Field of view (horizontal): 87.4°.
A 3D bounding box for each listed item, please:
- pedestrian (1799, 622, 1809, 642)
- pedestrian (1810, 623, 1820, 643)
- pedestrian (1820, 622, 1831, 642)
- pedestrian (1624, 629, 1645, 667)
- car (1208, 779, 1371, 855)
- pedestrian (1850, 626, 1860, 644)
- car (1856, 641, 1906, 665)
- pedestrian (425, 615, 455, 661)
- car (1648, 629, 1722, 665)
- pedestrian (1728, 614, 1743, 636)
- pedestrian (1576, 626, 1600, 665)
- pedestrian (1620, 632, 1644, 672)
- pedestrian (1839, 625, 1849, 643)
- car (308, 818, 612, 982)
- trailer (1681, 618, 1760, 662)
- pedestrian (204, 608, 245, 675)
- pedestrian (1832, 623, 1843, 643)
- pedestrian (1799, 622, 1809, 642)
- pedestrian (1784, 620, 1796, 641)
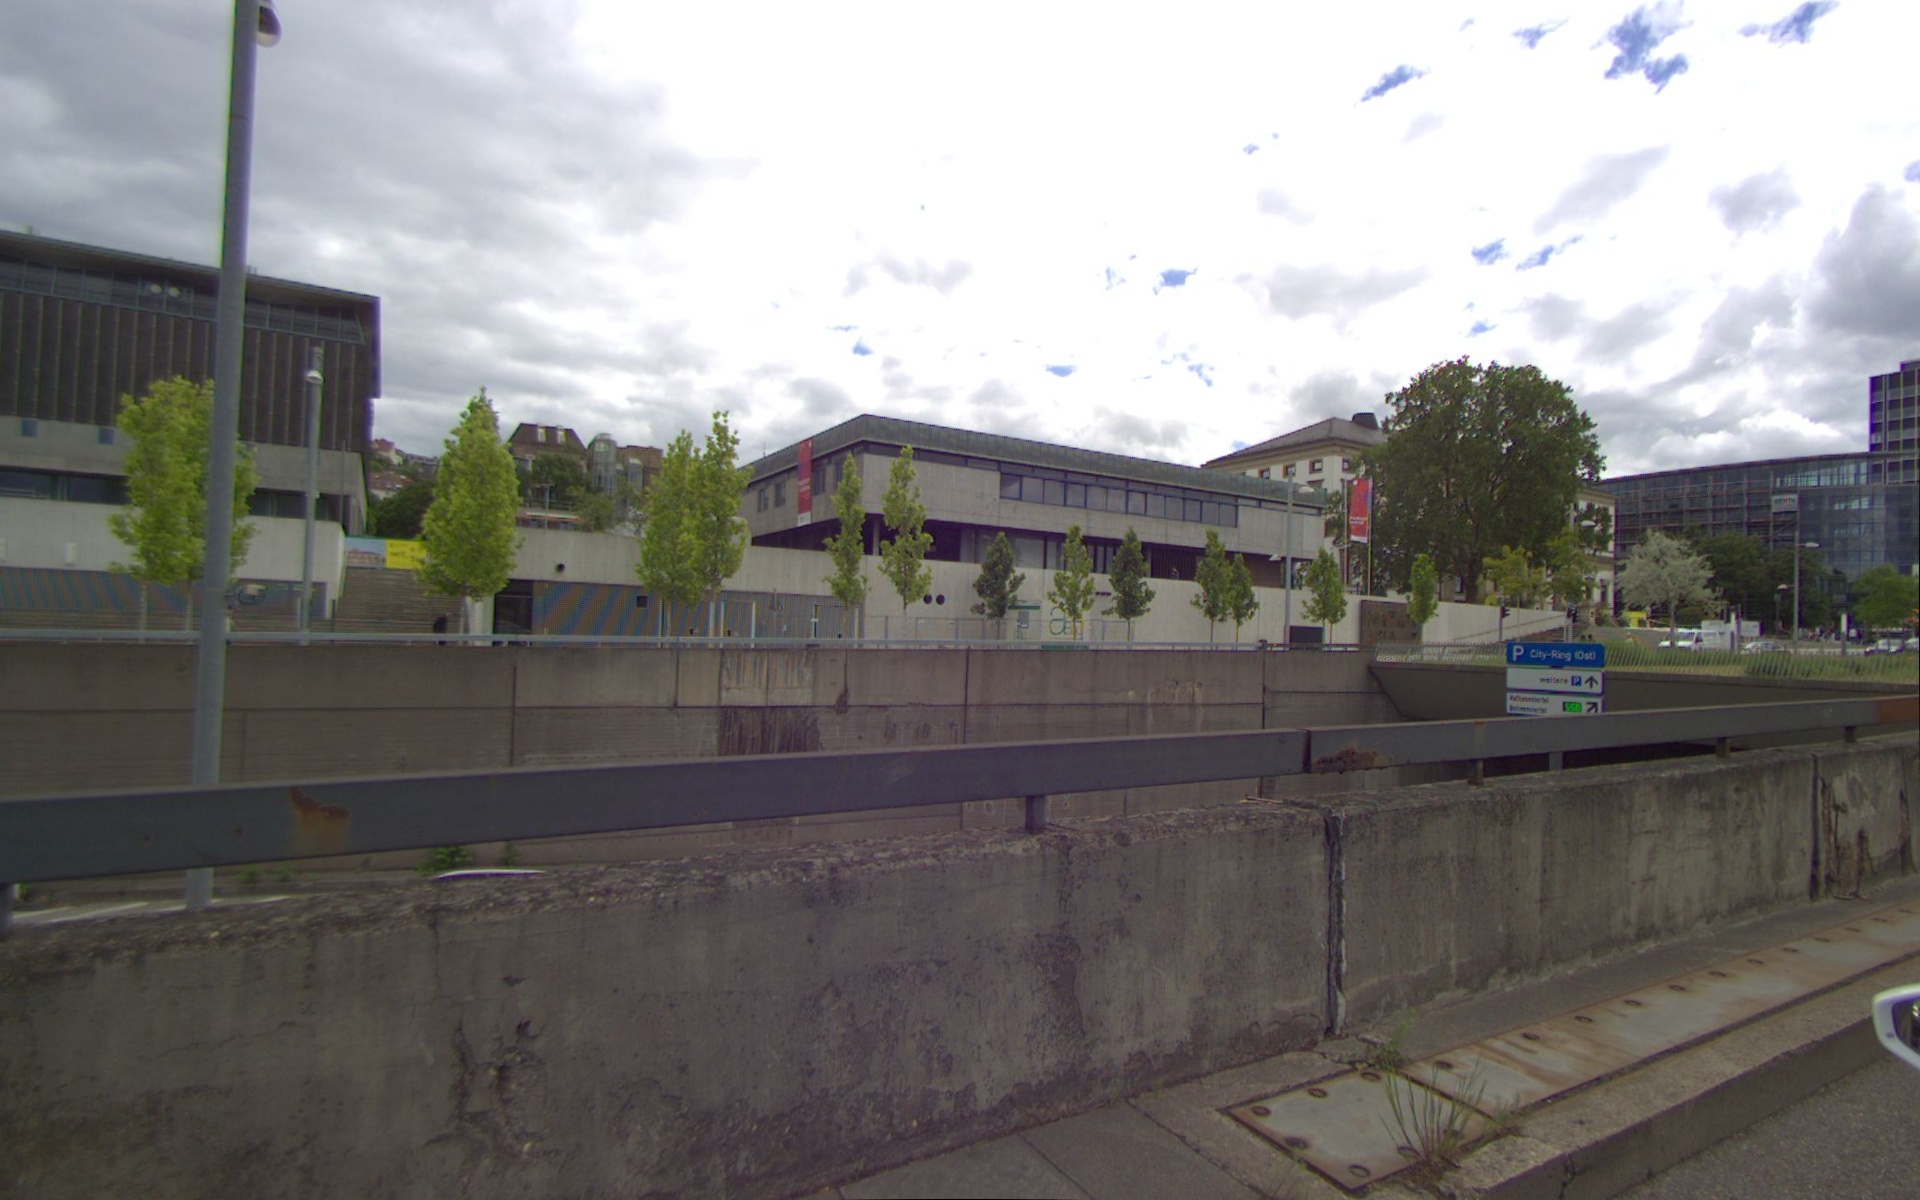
[{"bbox_3d":[86.535,3.292,102.983,0.729,2.040,0.917,-1,-1,38],"label":"pedestrian"},{"bbox_3d":[87.153,3.339,102.439,0.729,2.040,1.078,-1,-1,39],"label":"pedestrian"},{"bbox_3d":[88.425,3.275,102.622,0.731,2.040,0.788,-1,-1,45],"label":"pedestrian"},{"bbox_3d":[37.040,2.617,55.164,0.623,2.041,0.724,-4,2,-37],"label":"pedestrian"},{"bbox_3d":[9.618,6.240,29.240,4.345,1.789,2.153,6,-5,-30],"label":"car"},{"bbox_3d":[97.990,3.830,109.957,0.731,2.040,0.788,-1,-1,45],"label":"pedestrian"},{"bbox_3d":[64.907,3.761,70.778,3.556,1.514,1.723,3,0,-32],"label":"car"},{"bbox_3d":[-19.194,1.405,37.097,0.779,1.664,0.739,0,-1,-11],"label":"pedestrian"},{"bbox_3d":[44.650,2.878,61.828,4.635,2.040,1.985,0,0,-30],"label":"car"},{"bbox_3d":[71.148,2.291,92.161,1.103,2.040,0.734,0,-1,-35],"label":"pedestrian"},{"bbox_3d":[33.367,2.417,53.397,0.820,2.040,0.793,0,-1,7],"label":"pedestrian"},{"bbox_3d":[34.506,2.653,51.564,0.845,2.040,0.629,0,-1,17],"label":"pedestrian"},{"bbox_3d":[97.448,3.751,110.701,0.731,2.040,0.788,-1,-1,45],"label":"pedestrian"},{"bbox_3d":[-7.464,4.384,15.150,3.866,1.562,1.703,3,0,-33],"label":"car"},{"bbox_3d":[48.922,2.544,64.581,5.443,2.640,2.028,1,1,-30],"label":"trailer"},{"bbox_3d":[-22.580,1.265,30.851,0.779,2.040,0.739,0,-1,-14],"label":"pedestrian"},{"bbox_3d":[90.101,3.370,103.133,0.731,2.040,0.788,-1,-1,45],"label":"pedestrian"},{"bbox_3d":[85.837,3.250,102.141,0.730,2.040,0.916,-1,-1,41],"label":"pedestrian"},{"bbox_3d":[82.952,3.052,100.370,0.783,2.040,0.735,0,-1,-29],"label":"pedestrian"}]
